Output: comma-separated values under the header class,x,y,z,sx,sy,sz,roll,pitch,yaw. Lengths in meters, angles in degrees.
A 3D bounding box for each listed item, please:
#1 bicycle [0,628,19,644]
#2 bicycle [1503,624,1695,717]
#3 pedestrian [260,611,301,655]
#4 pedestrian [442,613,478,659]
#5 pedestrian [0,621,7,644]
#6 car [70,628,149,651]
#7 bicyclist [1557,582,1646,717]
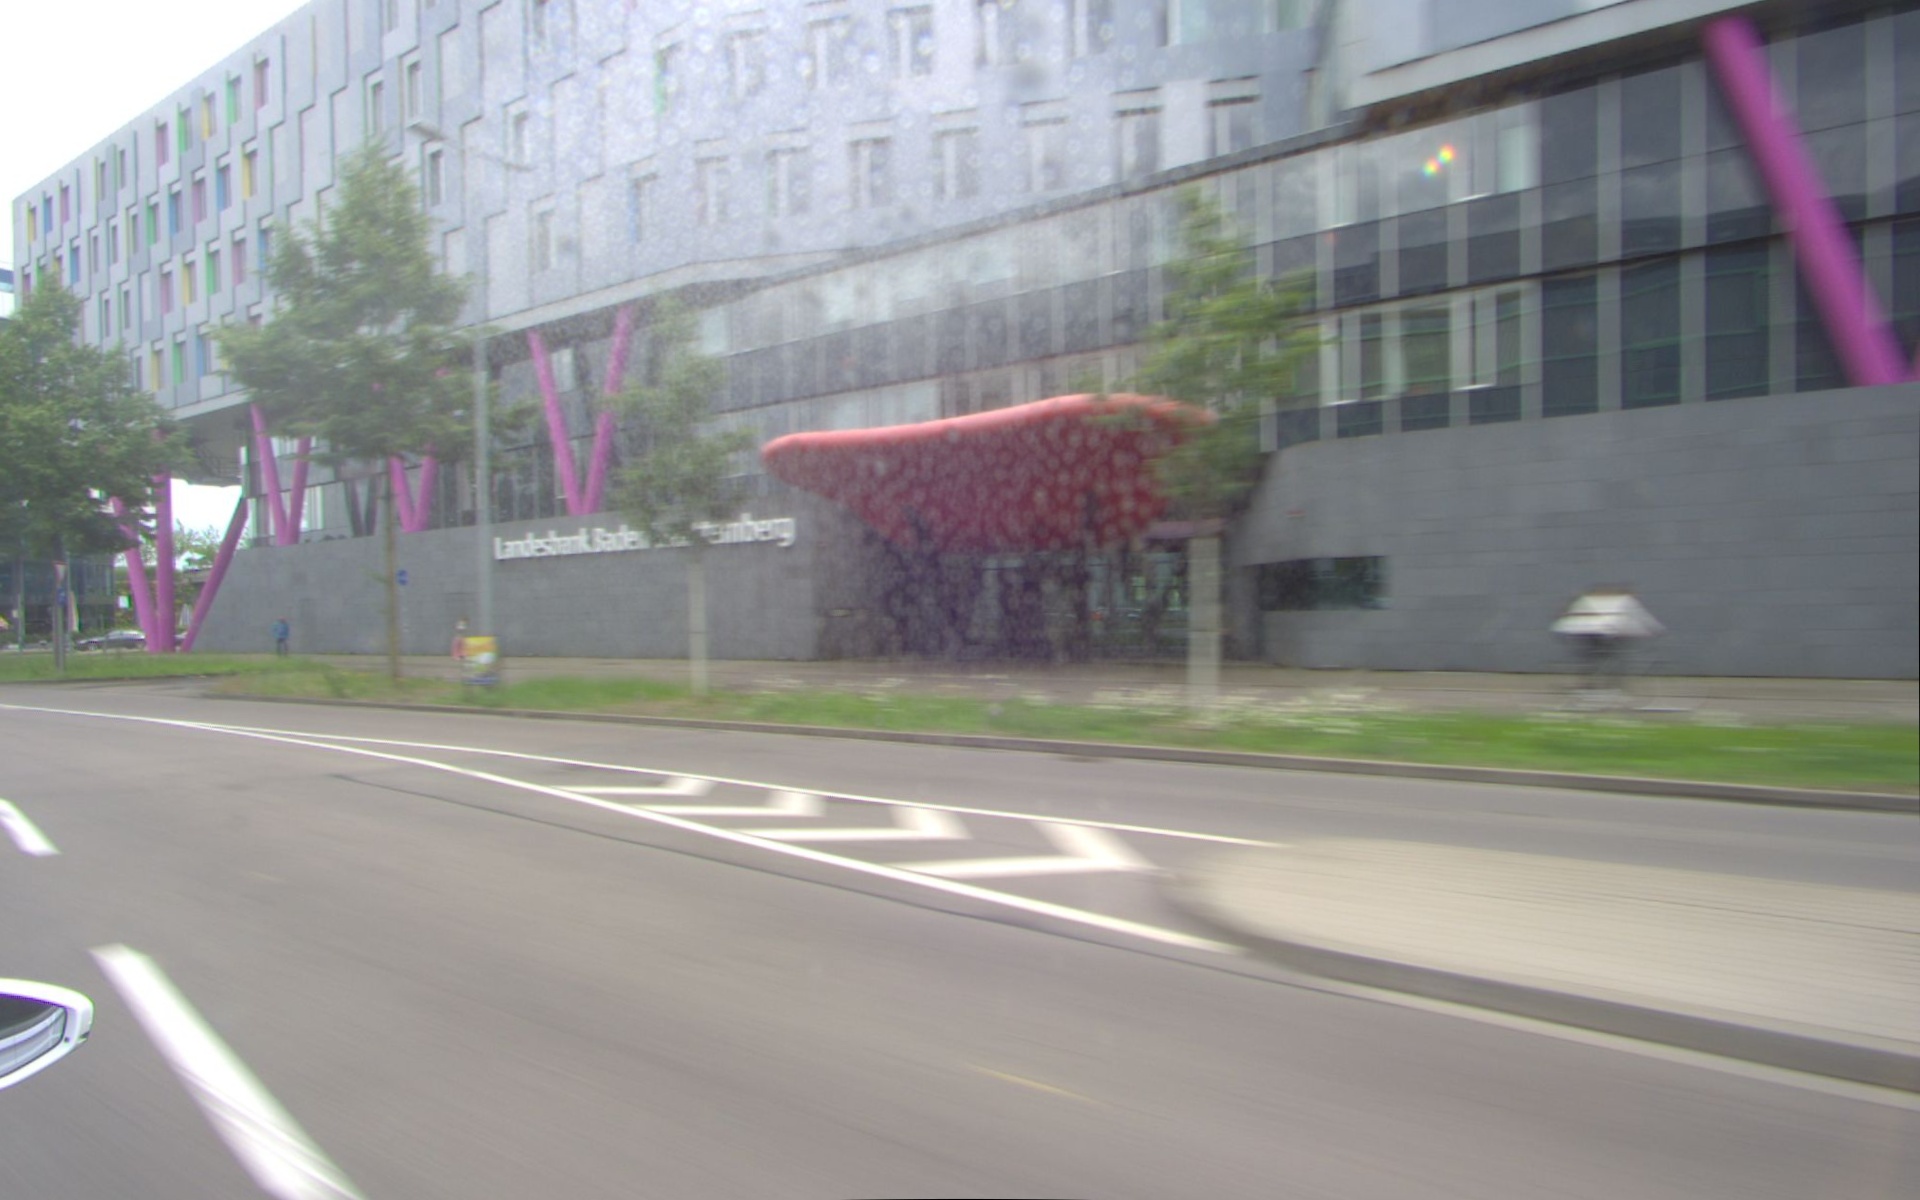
class,x,y,z,sx,sy,sz,roll,pitch,yaw
bicycle,-69.109,2.600,72.146,0.609,1.100,1.787,-1,0,34
bicycle,8.859,0.949,14.008,2.185,1.210,0.783,0,0,26
pedestrian,-28.230,1.361,41.633,1.121,1.794,1.049,0,0,33
pedestrian,-17.861,1.280,35.795,0.902,1.604,0.782,0,1,33
pedestrian,-69.143,2.334,72.090,0.610,1.625,0.613,-1,0,35
car,-64.546,2.963,76.048,1.734,1.636,4.240,-1,-1,34
bicyclist,8.926,0.675,13.975,0.958,1.810,0.770,0,1,26
